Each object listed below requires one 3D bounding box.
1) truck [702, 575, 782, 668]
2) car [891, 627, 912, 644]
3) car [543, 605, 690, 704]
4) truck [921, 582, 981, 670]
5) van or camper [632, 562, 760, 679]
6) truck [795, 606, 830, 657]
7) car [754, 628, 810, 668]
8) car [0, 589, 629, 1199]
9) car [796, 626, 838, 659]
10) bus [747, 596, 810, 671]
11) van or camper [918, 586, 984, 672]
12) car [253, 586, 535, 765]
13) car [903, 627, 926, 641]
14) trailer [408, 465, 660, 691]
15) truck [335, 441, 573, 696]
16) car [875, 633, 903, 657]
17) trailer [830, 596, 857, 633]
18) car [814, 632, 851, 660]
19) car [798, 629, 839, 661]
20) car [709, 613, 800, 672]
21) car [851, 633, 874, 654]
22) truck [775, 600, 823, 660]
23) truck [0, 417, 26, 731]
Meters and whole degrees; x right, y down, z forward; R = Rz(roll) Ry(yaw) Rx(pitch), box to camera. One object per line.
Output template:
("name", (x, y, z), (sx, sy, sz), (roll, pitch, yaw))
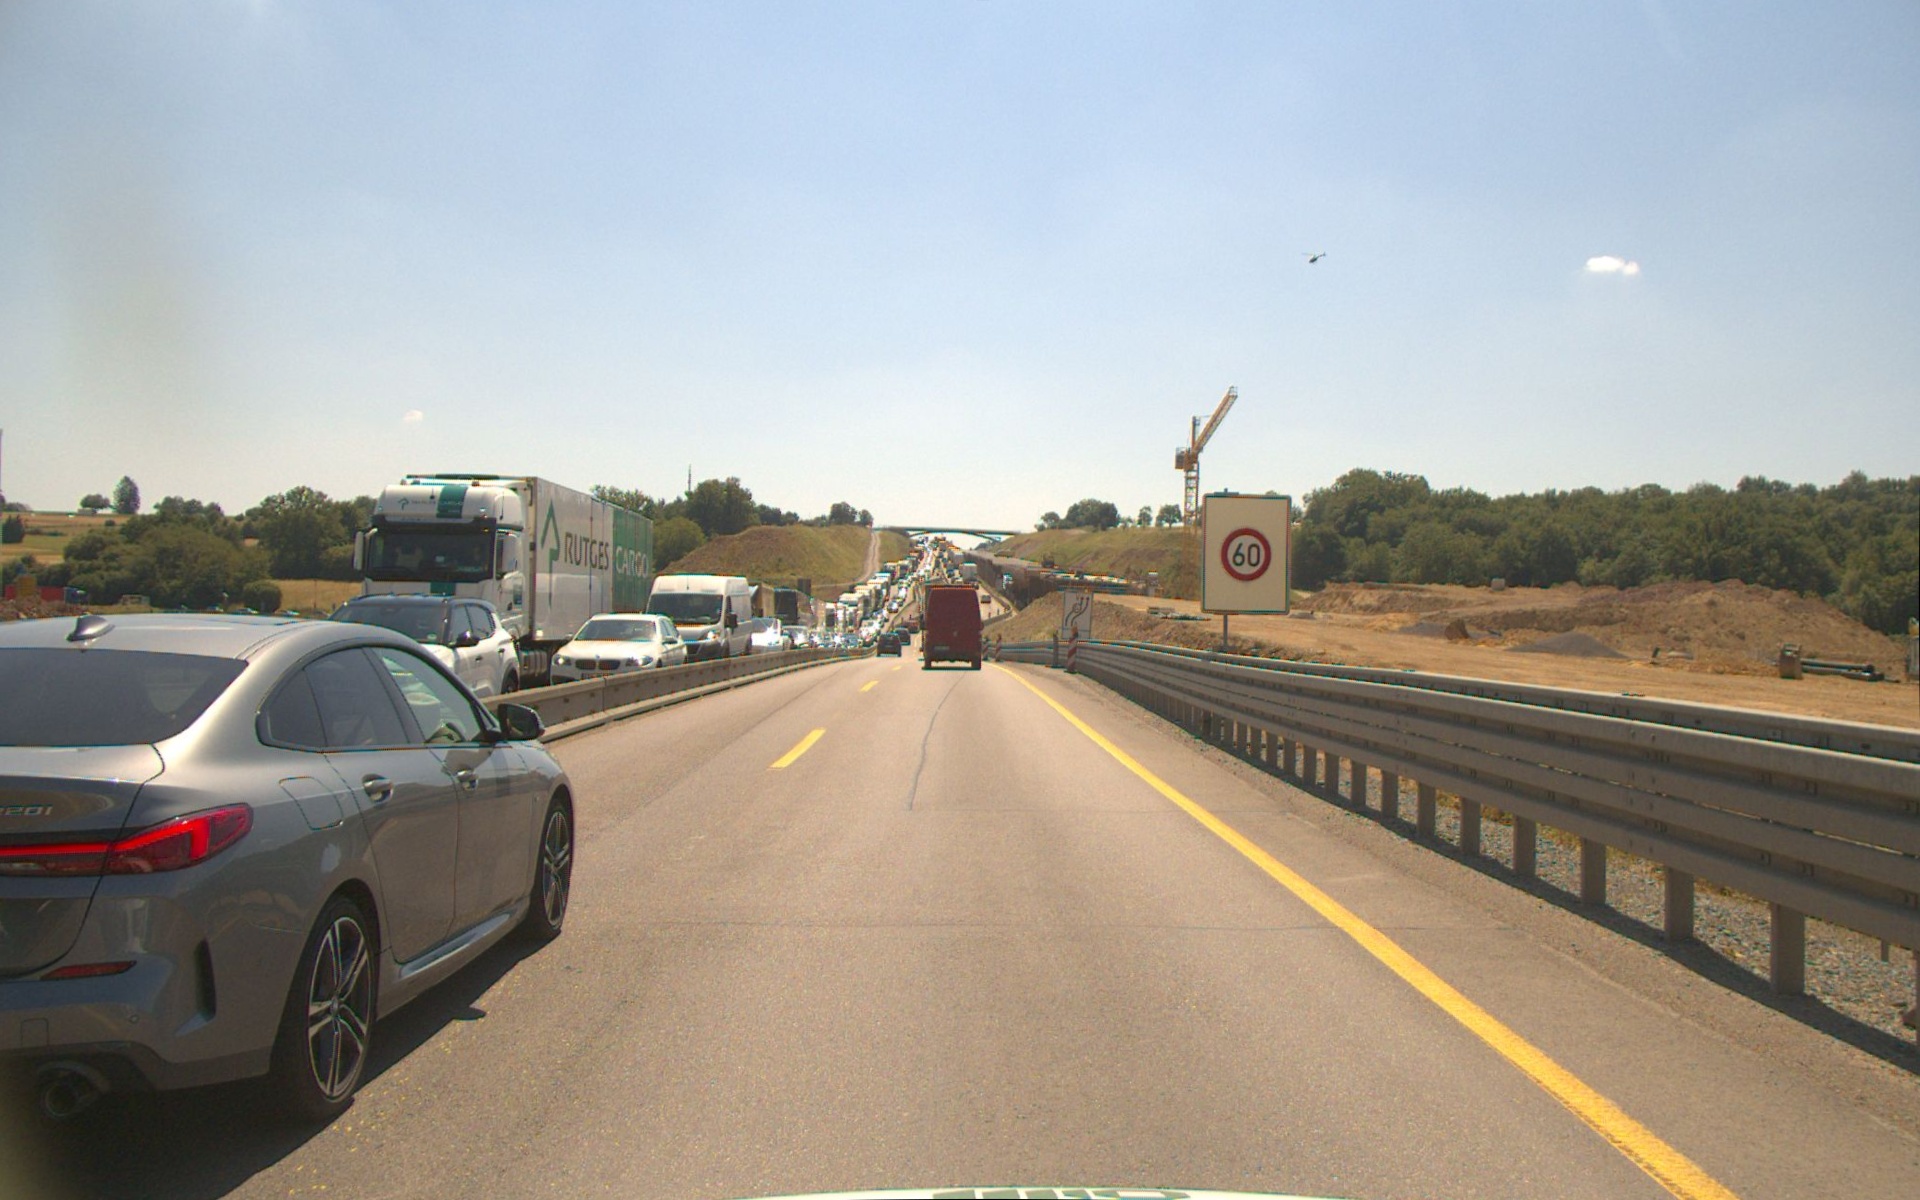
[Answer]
("truck", (-10.738, 1.045, 82.341), (2.746, 4.225, 10.075), (2, -1, -2))
("car", (-5.883, 3.564, 165.833), (1.971, 1.572, 4.130), (2, 0, -2))
("car", (-6.031, 0.909, 29.587), (1.955, 1.524, 4.969), (2, 0, -5))
("truck", (-0.558, 1.436, 94.112), (2.961, 4.775, 6.927), (-1, 0, -3))
("van or camper", (-6.383, 0.480, 40.732), (2.174, 2.555, 6.531), (2, 0, -2))
("truck", (-12.778, 2.735, 143.766), (2.919, 4.258, 5.868), (1, -1, -5))
("car", (-7.307, 1.939, 68.246), (1.844, 1.457, 5.123), (2, 0, -2))
("car", (-2.624, 0.712, 6.021), (1.813, 1.477, 4.742), (1, 0, 1))
("car", (-6.944, 2.079, 80.601), (1.822, 1.520, 4.901), (-1, -1, -3))
("bus", (-11.322, 1.975, 104.379), (2.684, 4.338, 14.470), (2, 0, -2))
("van or camper", (-0.349, 0.975, 56.556), (1.989, 2.792, 4.512), (1, 0, -3))
("car", (-6.057, 0.743, 18.238), (1.721, 1.675, 4.154), (2, 0, -2))
("car", (-5.397, 4.022, 197.388), (1.969, 1.572, 4.135), (2, 0, 8))
("trailer", (-9.689, -0.301, 39.621), (2.758, 4.508, 13.164), (0, -1, -1))
("truck", (-9.644, -0.542, 32.285), (2.749, 4.469, 6.223), (1, 0, -1))
("car", (-5.120, 3.237, 119.199), (1.972, 1.572, 4.130), (1, 0, -3))
("trailer", (-14.171, 1.761, 201.822), (2.542, 4.332, 12.463), (1, 0, -1))
("car", (-7.446, 2.673, 96.843), (1.879, 1.448, 5.088), (3, 0, -2))
("car", (-7.373, 2.351, 86.680), (1.801, 1.469, 4.928), (2, 0, -2))
("car", (-6.796, 1.369, 55.329), (2.324, 1.756, 5.779), (2, 0, -1))
("car", (-8.902, 3.974, 151.719), (1.954, 1.660, 4.755), (2, 0, -2))
("truck", (-11.747, 2.181, 121.318), (3.035, 4.272, 6.698), (1, -1, -2))
("truck", (-12.566, -0.326, 16.472), (2.851, 3.830, 8.349), (2, 0, -9))
